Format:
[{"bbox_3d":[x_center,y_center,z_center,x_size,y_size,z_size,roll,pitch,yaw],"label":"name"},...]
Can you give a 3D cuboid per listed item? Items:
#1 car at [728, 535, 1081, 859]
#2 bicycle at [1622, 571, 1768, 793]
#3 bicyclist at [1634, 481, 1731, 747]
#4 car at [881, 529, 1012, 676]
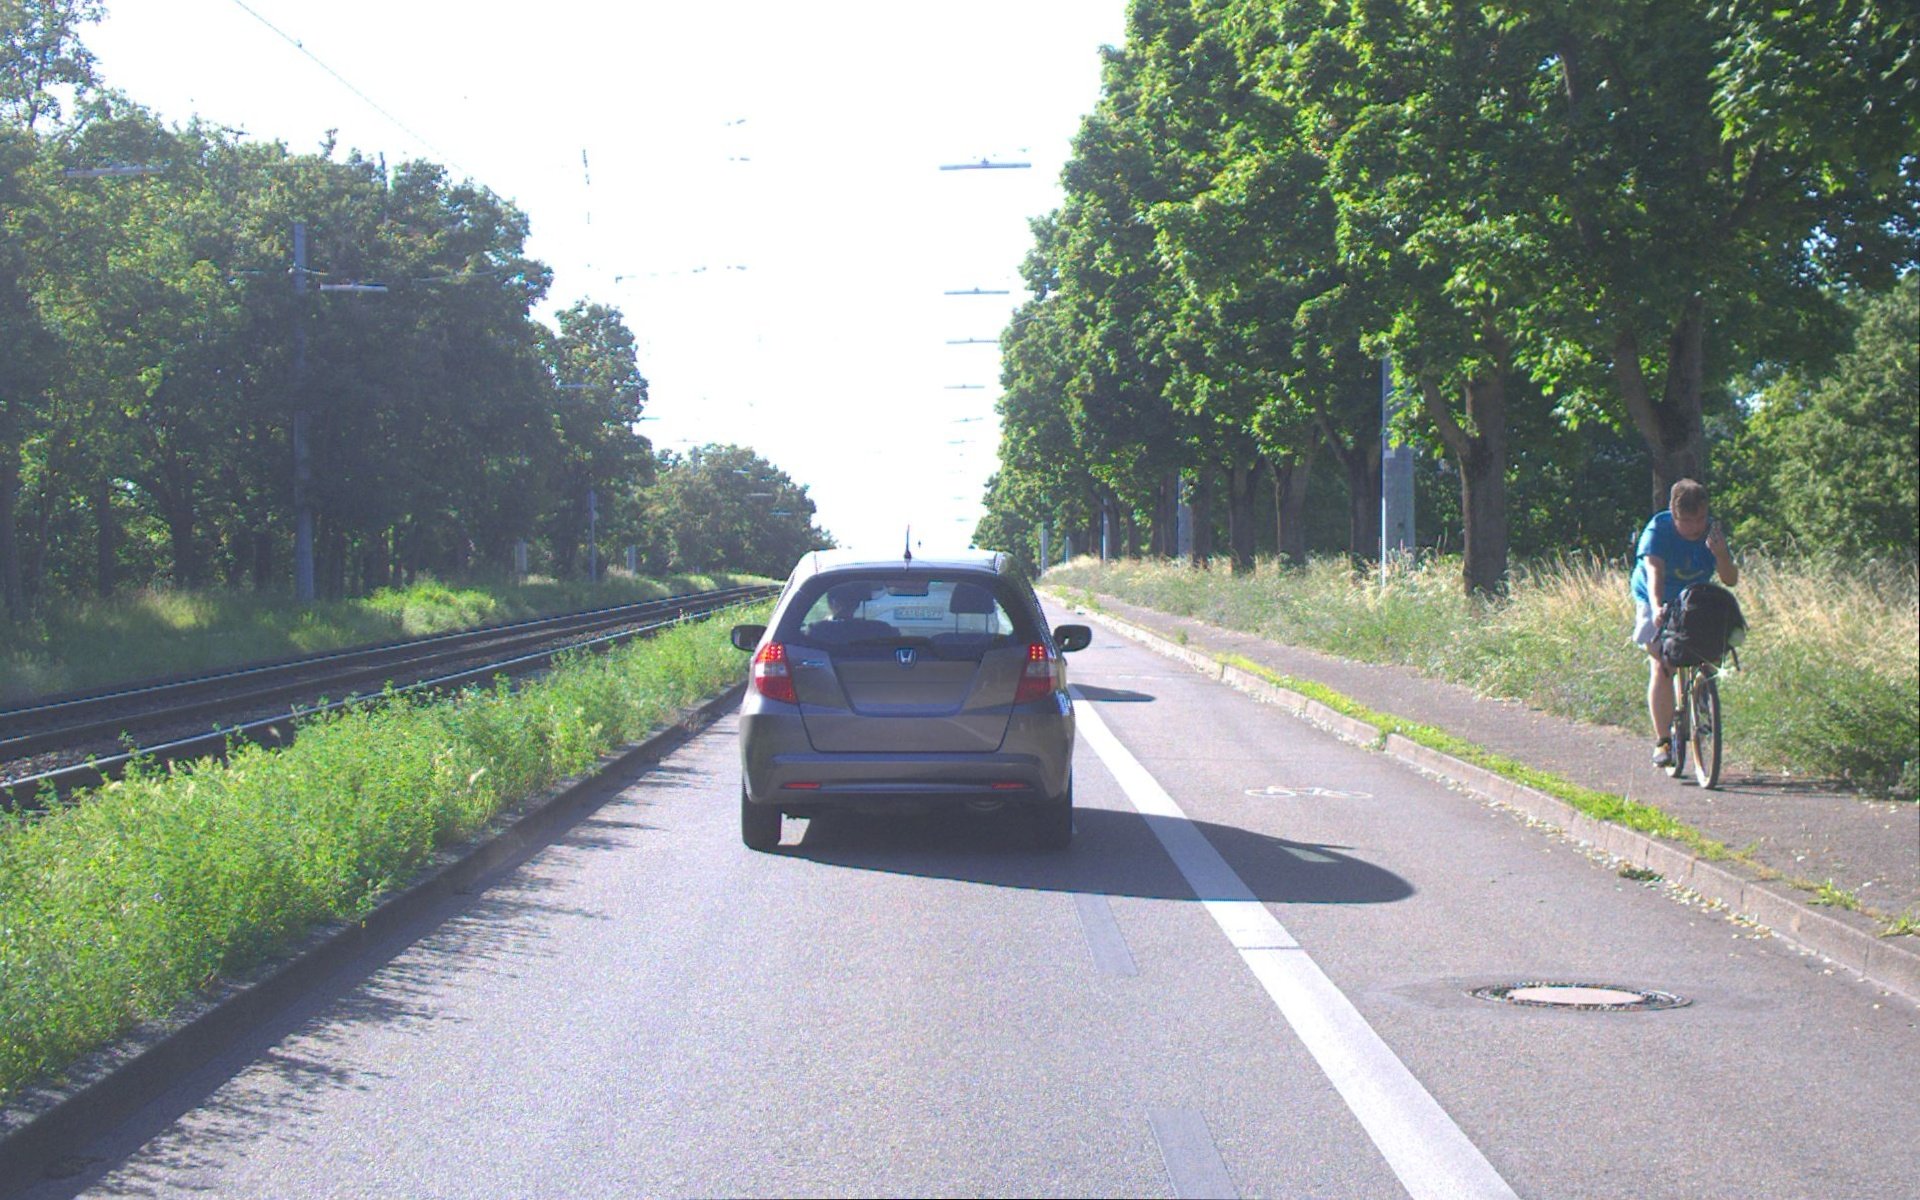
[{"bbox_3d":[-0.306,0.434,18.395,1.670,1.510,3.674,1,1,-1],"label":"car"},{"bbox_3d":[4.173,0.440,19.602,0.418,1.184,1.722,-1,1,-1],"label":"bicycle"},{"bbox_3d":[4.165,0.074,19.835,0.405,1.501,0.574,-1,1,-1],"label":"bicyclist"},{"bbox_3d":[-0.122,0.036,37.848,1.351,1.522,3.123,-1,0,1],"label":"car"}]
